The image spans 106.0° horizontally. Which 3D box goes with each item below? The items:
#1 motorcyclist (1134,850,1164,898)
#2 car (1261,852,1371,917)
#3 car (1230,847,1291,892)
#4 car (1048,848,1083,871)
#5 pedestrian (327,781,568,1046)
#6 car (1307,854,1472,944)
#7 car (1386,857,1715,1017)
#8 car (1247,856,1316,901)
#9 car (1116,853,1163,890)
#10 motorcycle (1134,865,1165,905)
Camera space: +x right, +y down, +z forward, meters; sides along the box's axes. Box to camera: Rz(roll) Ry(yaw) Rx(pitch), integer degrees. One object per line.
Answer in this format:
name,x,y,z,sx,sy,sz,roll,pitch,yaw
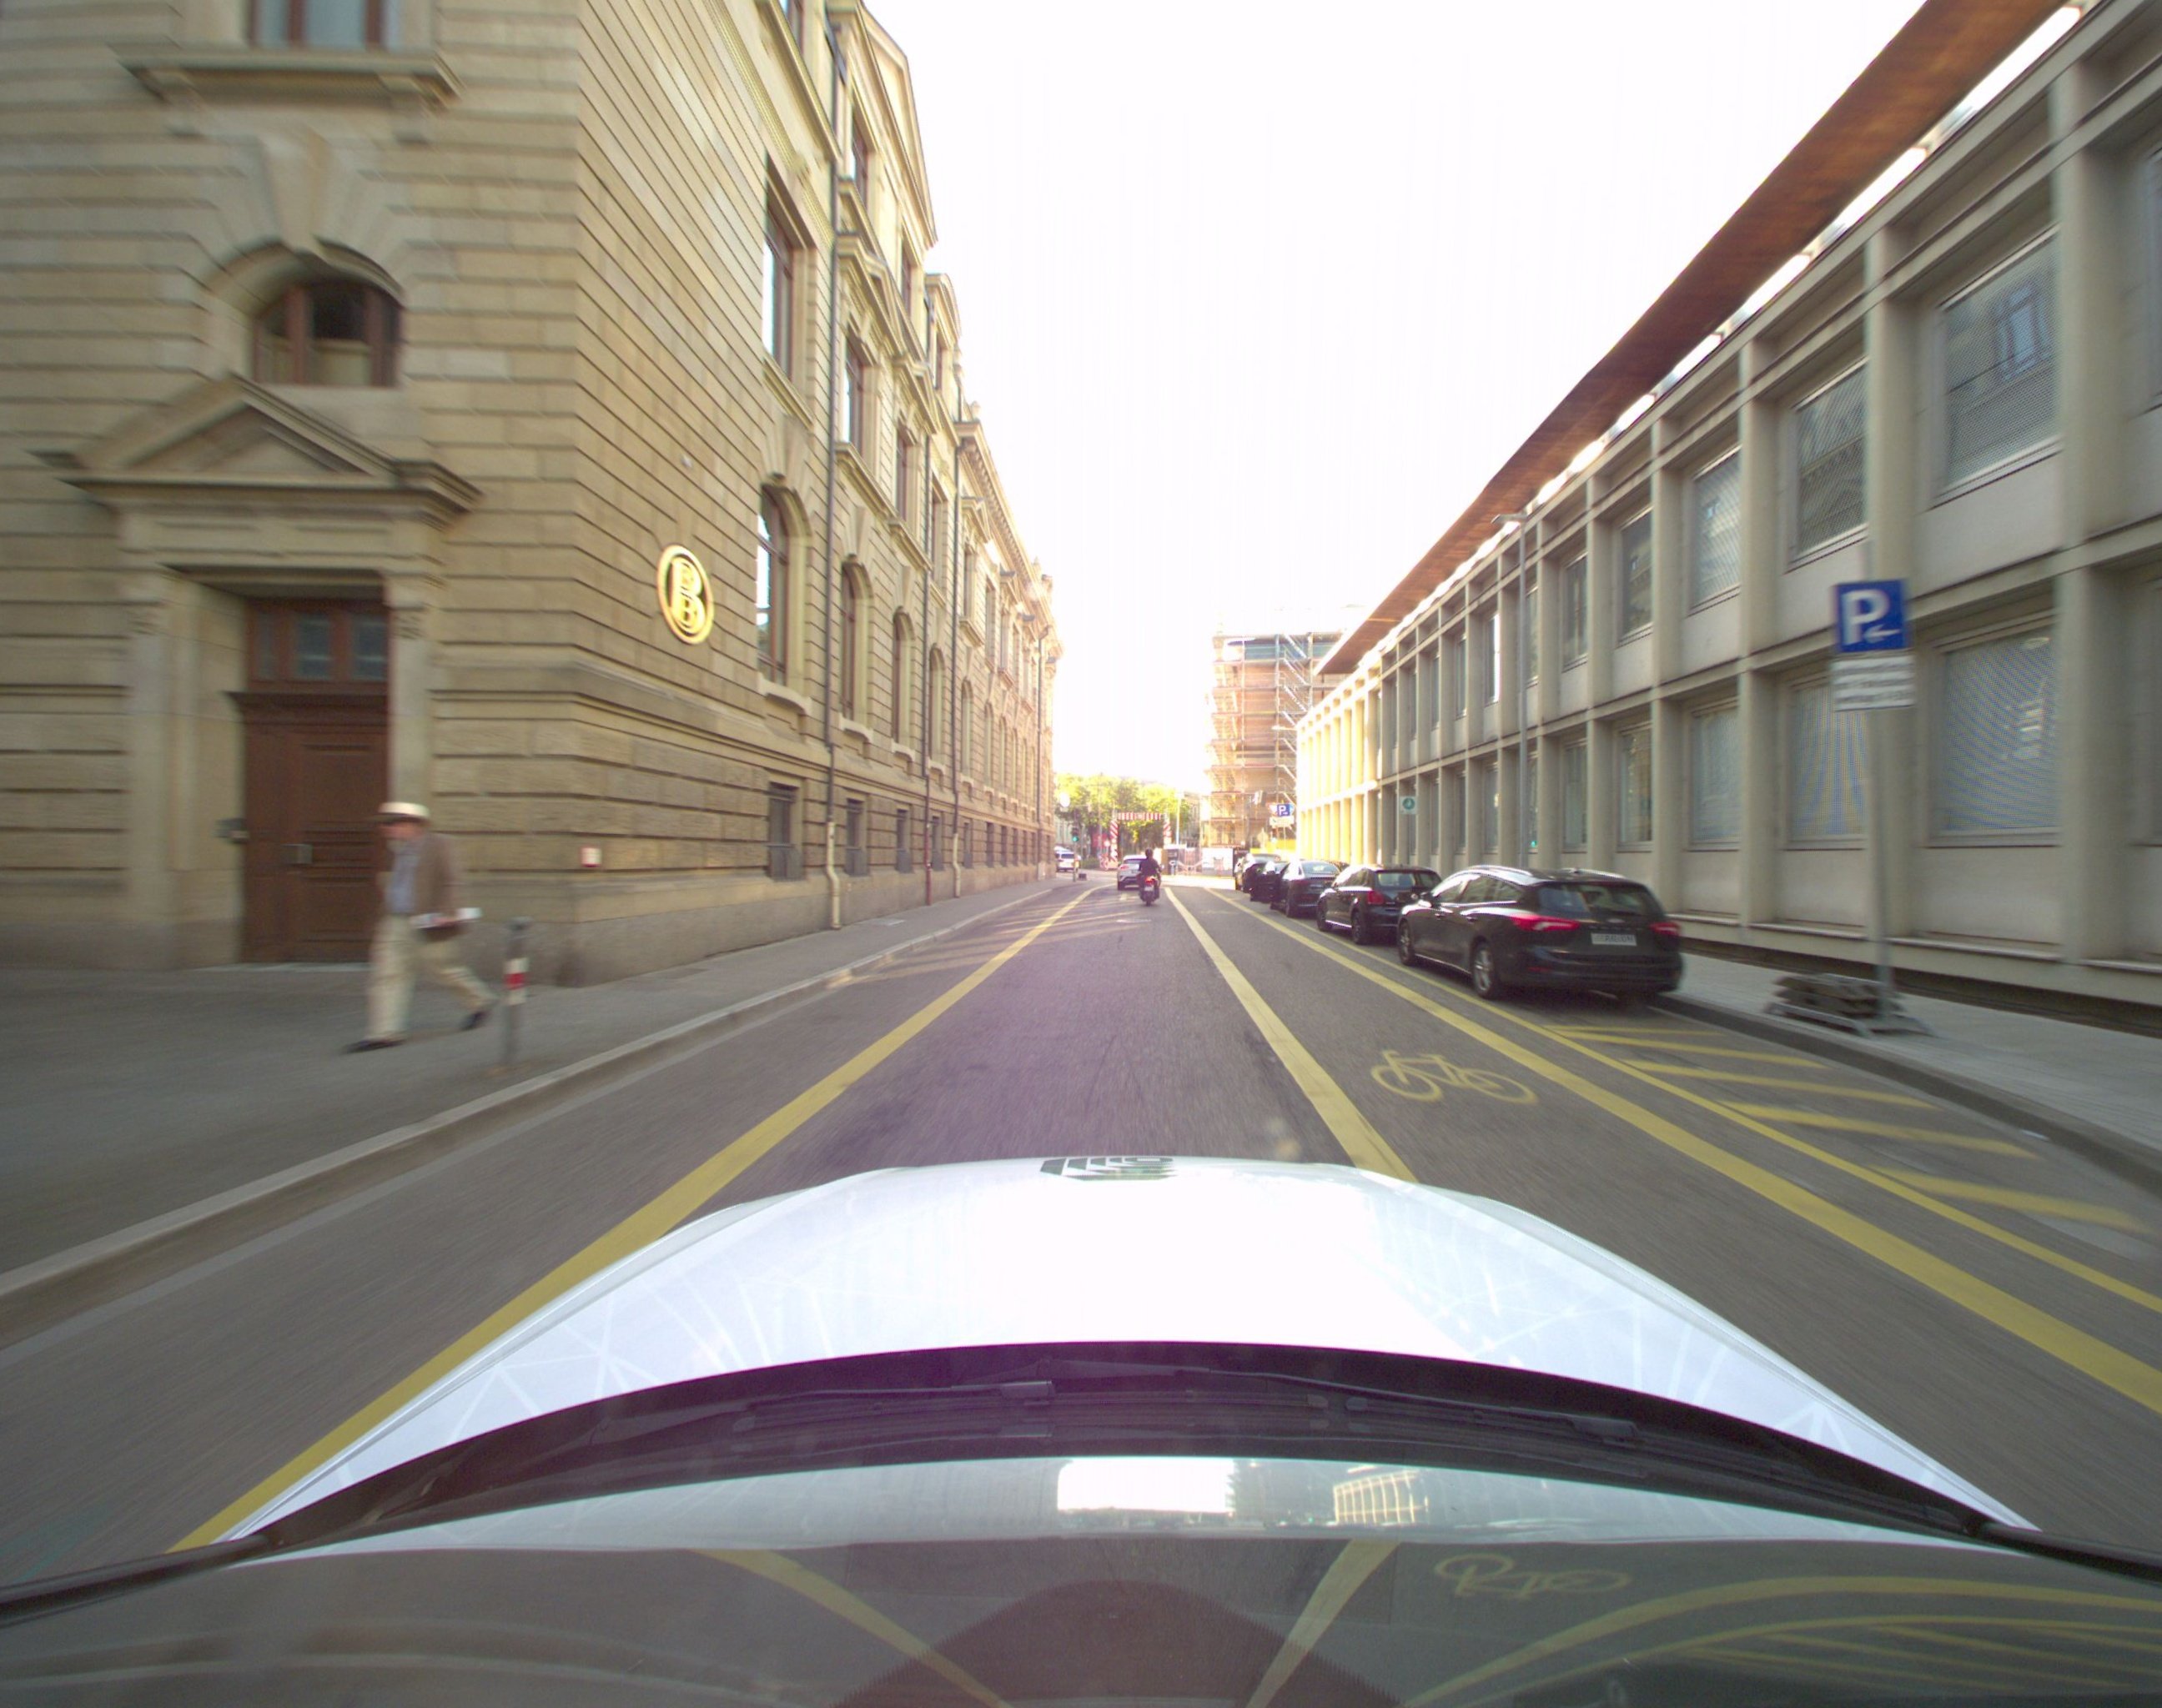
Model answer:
motorcyclist,2.021,0.601,24.375,0.863,1.427,0.456,-1,-1,2
car,6.109,0.753,21.761,1.817,1.501,4.741,1,-1,3
car,7.517,0.595,34.469,1.817,1.699,4.671,1,1,4
car,-1.360,0.438,69.402,1.997,1.664,4.337,-3,3,-14
pedestrian,-4.775,0.415,6.234,0.837,1.800,1.075,3,-1,6
car,5.740,0.793,15.757,1.773,1.479,4.292,-1,-1,3
car,5.356,0.810,10.056,1.775,1.479,4.293,1,0,3
car,6.964,0.835,28.674,1.815,1.399,4.487,1,-1,6
car,2.672,0.741,36.298,1.812,1.541,4.273,0,0,8
motorcycle,2.020,0.904,24.266,0.869,1.109,1.841,-1,-1,3
